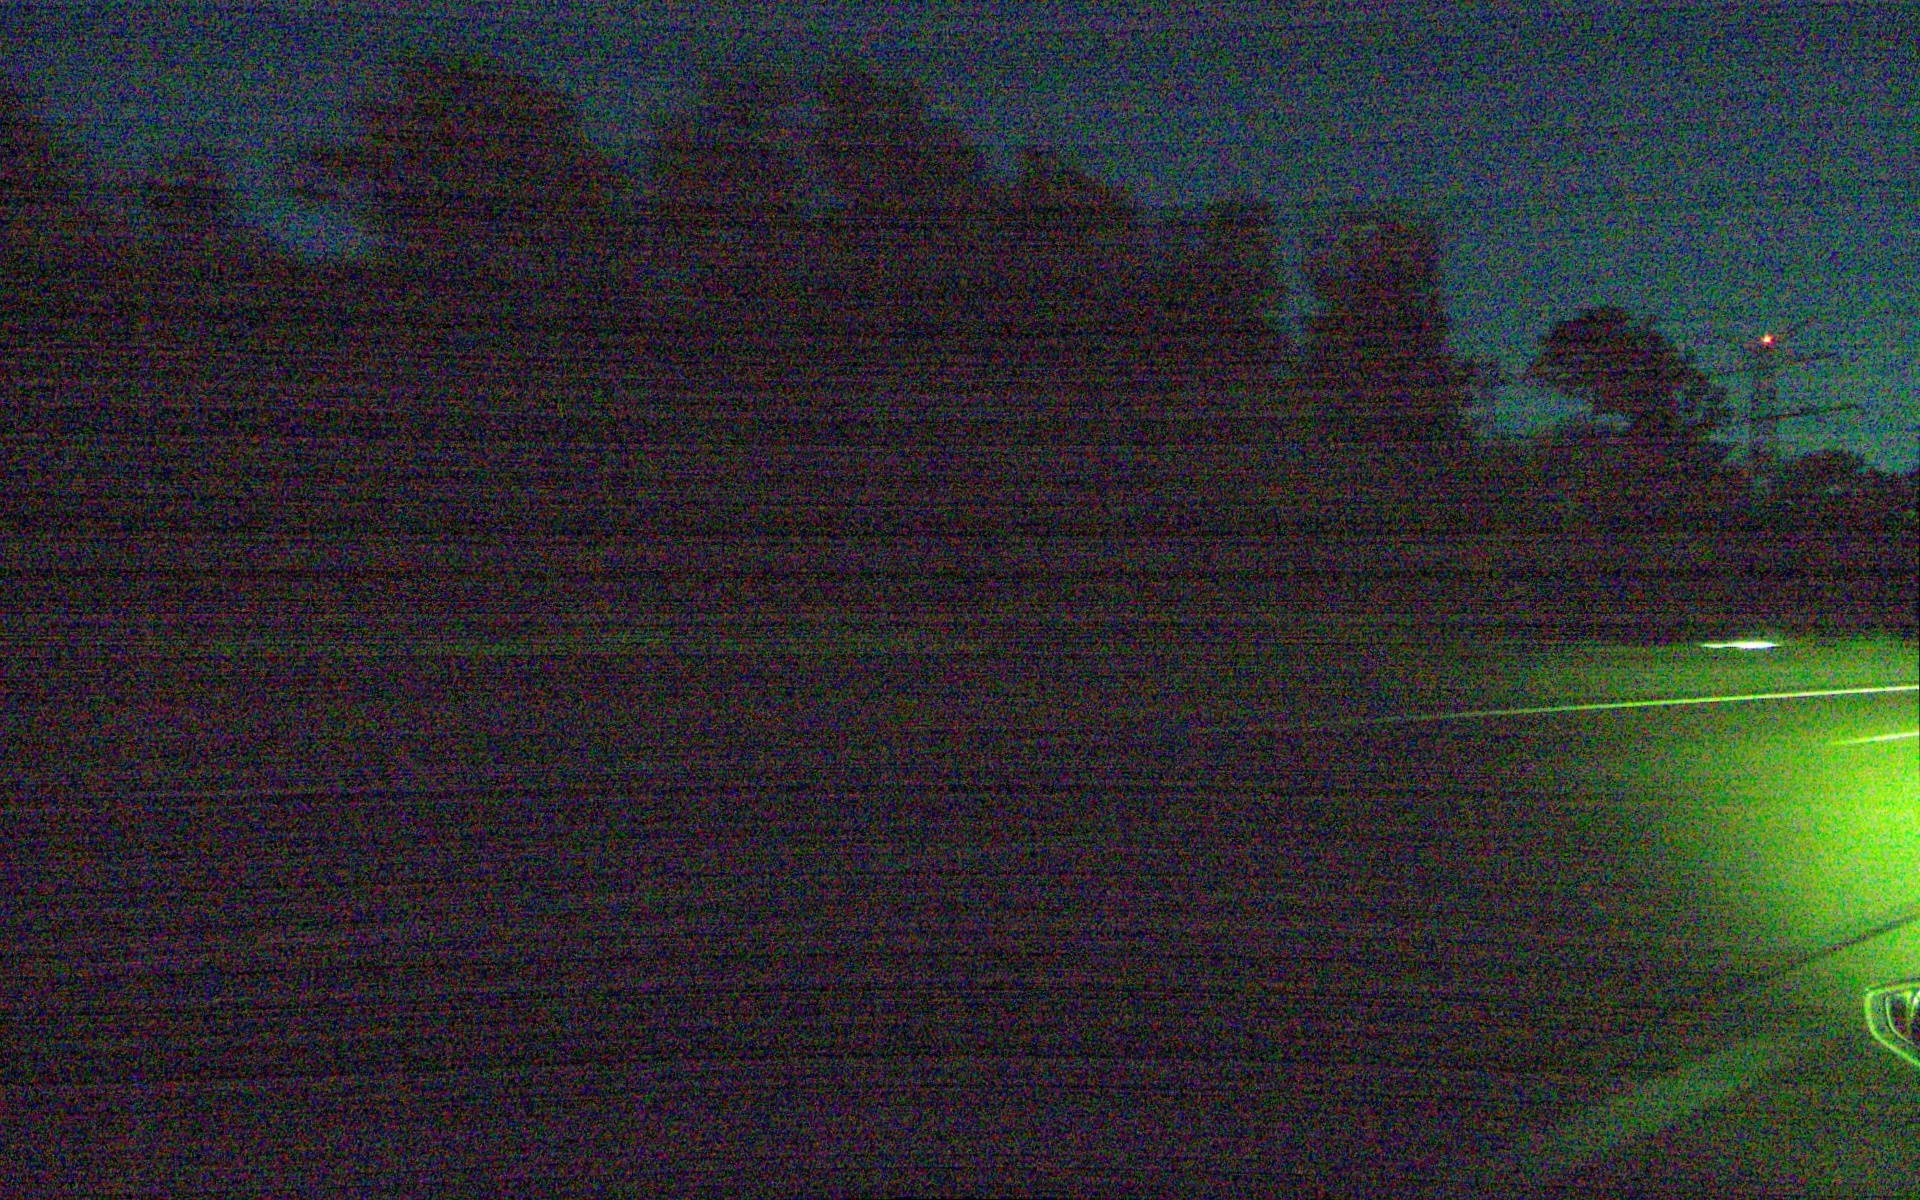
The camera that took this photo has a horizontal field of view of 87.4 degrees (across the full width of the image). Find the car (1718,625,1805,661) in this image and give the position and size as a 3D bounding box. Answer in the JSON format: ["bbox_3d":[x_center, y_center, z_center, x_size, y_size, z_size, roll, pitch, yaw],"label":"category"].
[{"bbox_3d":[39.403,2.094,49.346,4.650,1.668,1.887,2,-1,-32],"label":"car"}]
